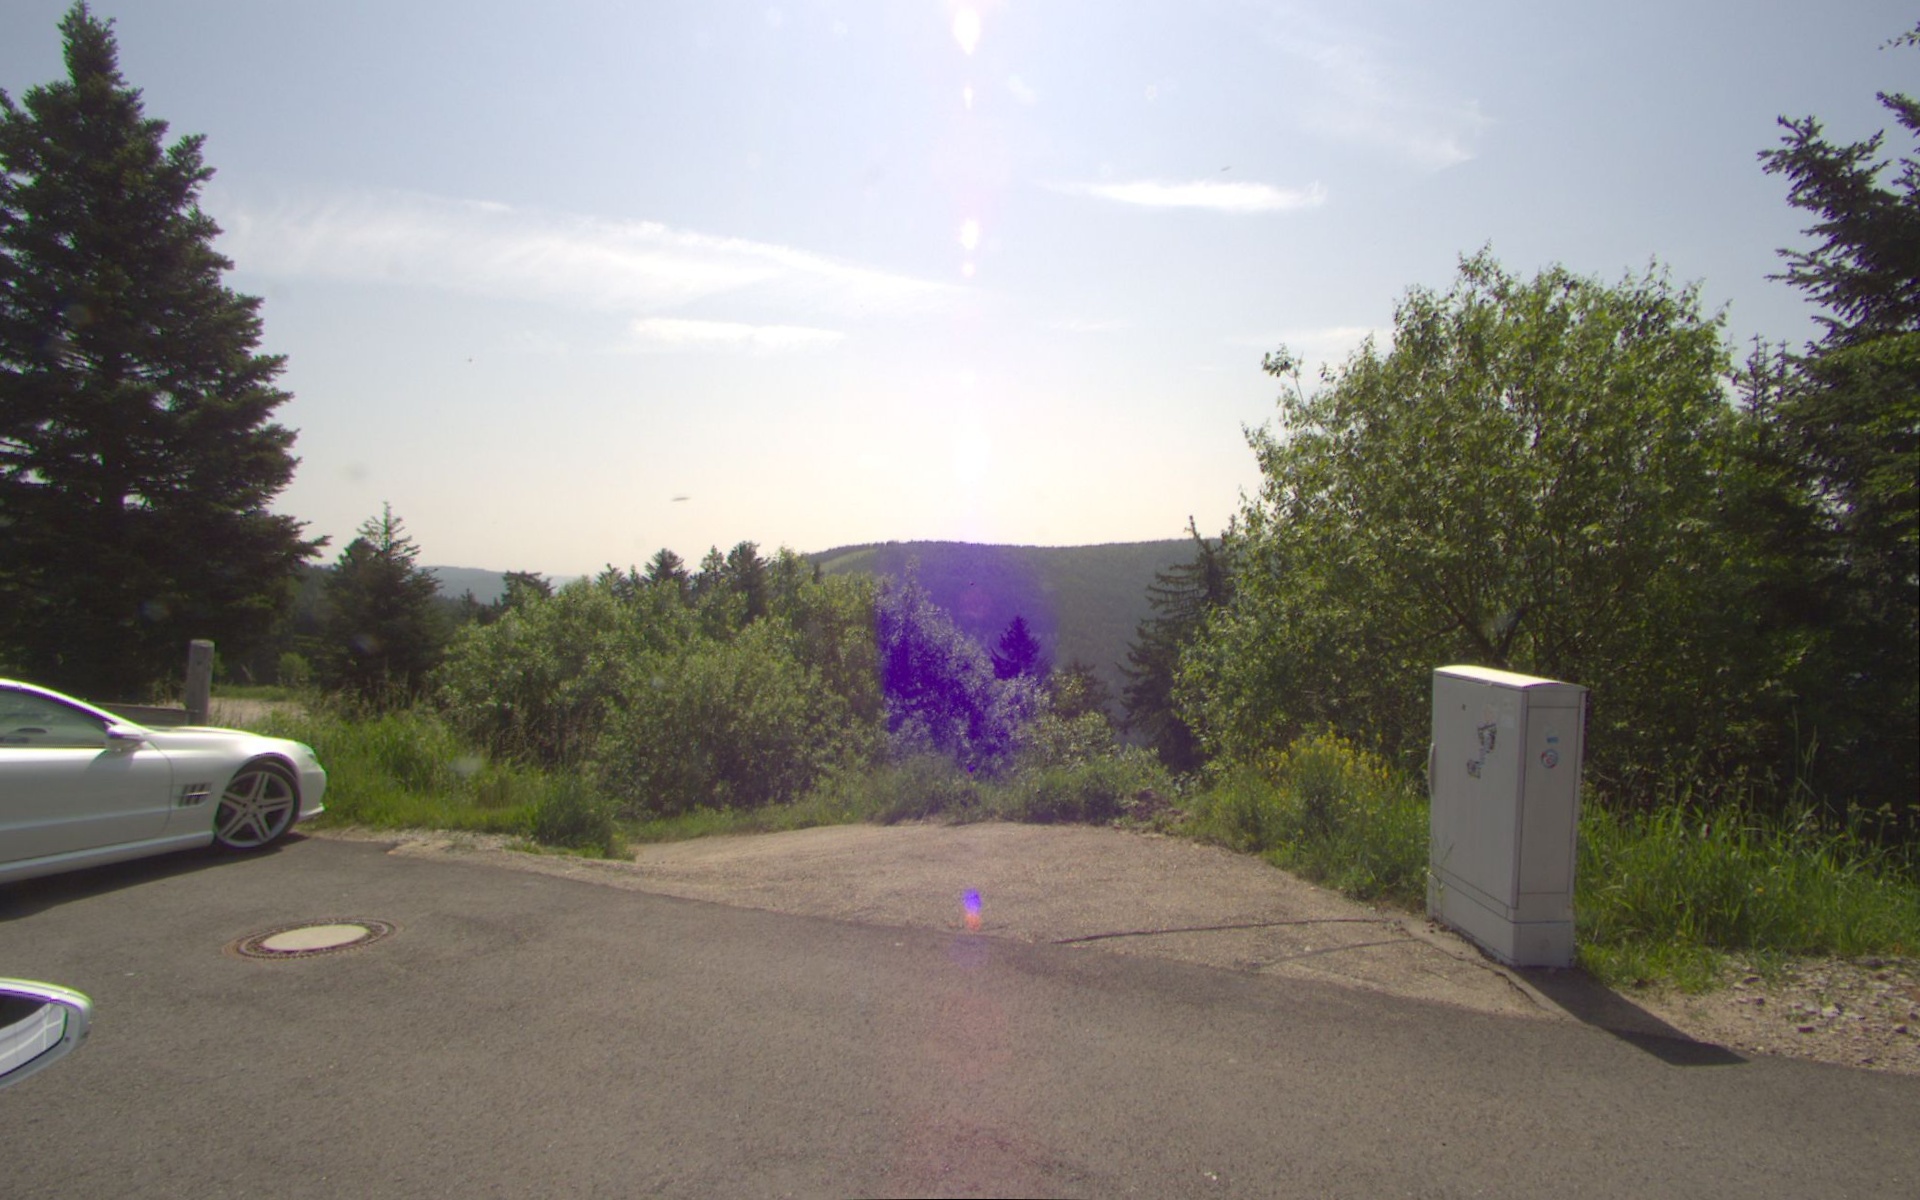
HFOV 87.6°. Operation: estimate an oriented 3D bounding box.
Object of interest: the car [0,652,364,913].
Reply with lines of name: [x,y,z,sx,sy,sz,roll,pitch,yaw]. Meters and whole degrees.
car: [-5.824,0.986,5.772,1.722,1.312,4.415,1,-3,7]
